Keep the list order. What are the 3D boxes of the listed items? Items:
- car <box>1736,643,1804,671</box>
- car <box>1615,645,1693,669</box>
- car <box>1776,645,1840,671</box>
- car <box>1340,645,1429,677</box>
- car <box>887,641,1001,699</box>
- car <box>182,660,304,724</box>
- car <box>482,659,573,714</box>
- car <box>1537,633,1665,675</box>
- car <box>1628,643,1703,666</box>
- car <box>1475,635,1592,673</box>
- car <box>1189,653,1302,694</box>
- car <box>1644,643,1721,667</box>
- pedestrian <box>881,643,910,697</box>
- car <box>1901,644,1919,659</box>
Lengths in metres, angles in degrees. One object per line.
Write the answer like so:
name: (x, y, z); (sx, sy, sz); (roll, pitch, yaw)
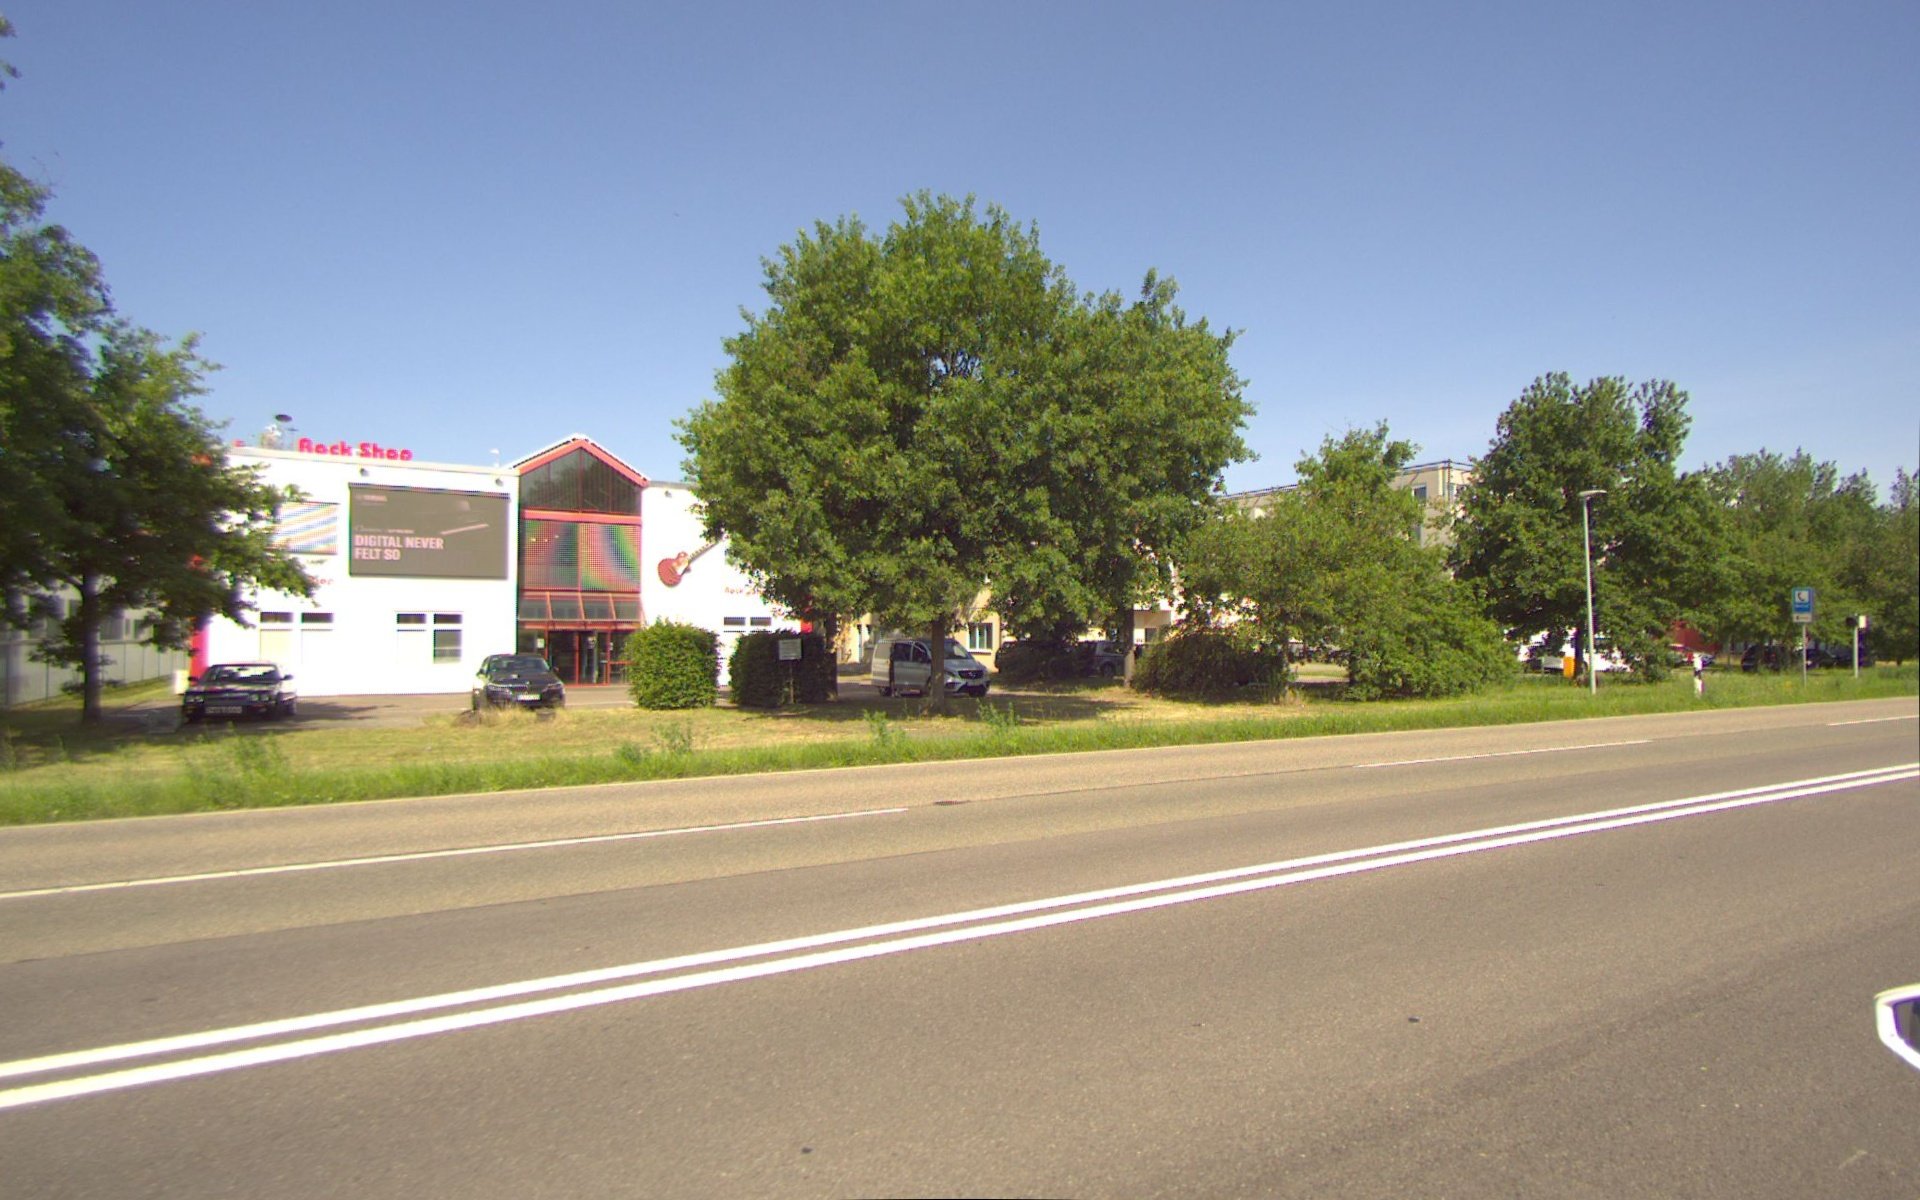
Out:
car: (49.530, 3.459, 61.408); (4.495, 1.599, 1.735); (1, -2, -30)
car: (47.413, 3.855, 68.695); (1.866, 1.557, 3.968); (1, -2, -30)
car: (54.329, 3.674, 64.330); (4.495, 1.599, 1.735); (1, -2, -30)
car: (20.370, 2.901, 48.179); (4.145, 1.412, 1.919); (2, -2, -32)
car: (-0.610, 2.294, 33.111); (1.976, 1.753, 4.204); (1, -4, -30)
car: (-16.712, 2.161, 23.616); (1.835, 1.342, 4.332); (2, -6, -29)
car: (-11.457, 2.232, 26.490); (1.840, 1.323, 3.971); (1, -4, -29)
car: (31.145, 2.621, 48.924); (4.916, 1.954, 2.075); (1, -2, 1)
car: (49.565, 3.809, 70.614); (1.722, 1.557, 3.968); (1, -2, -30)
car: (29.808, 2.793, 52.306); (4.916, 1.830, 2.075); (1, -2, 1)
car: (10.289, 2.613, 36.185); (3.953, 1.368, 1.664); (1, -2, -30)
car: (51.566, 3.883, 71.741); (1.722, 1.606, 4.115); (1, -2, -30)
pedestrian: (-2.100, 2.276, 32.872); (0.802, 1.735, 0.638); (0, -2, 9)
car: (94.531, 5.030, 98.439); (4.893, 1.456, 1.985); (1, -2, -29)
